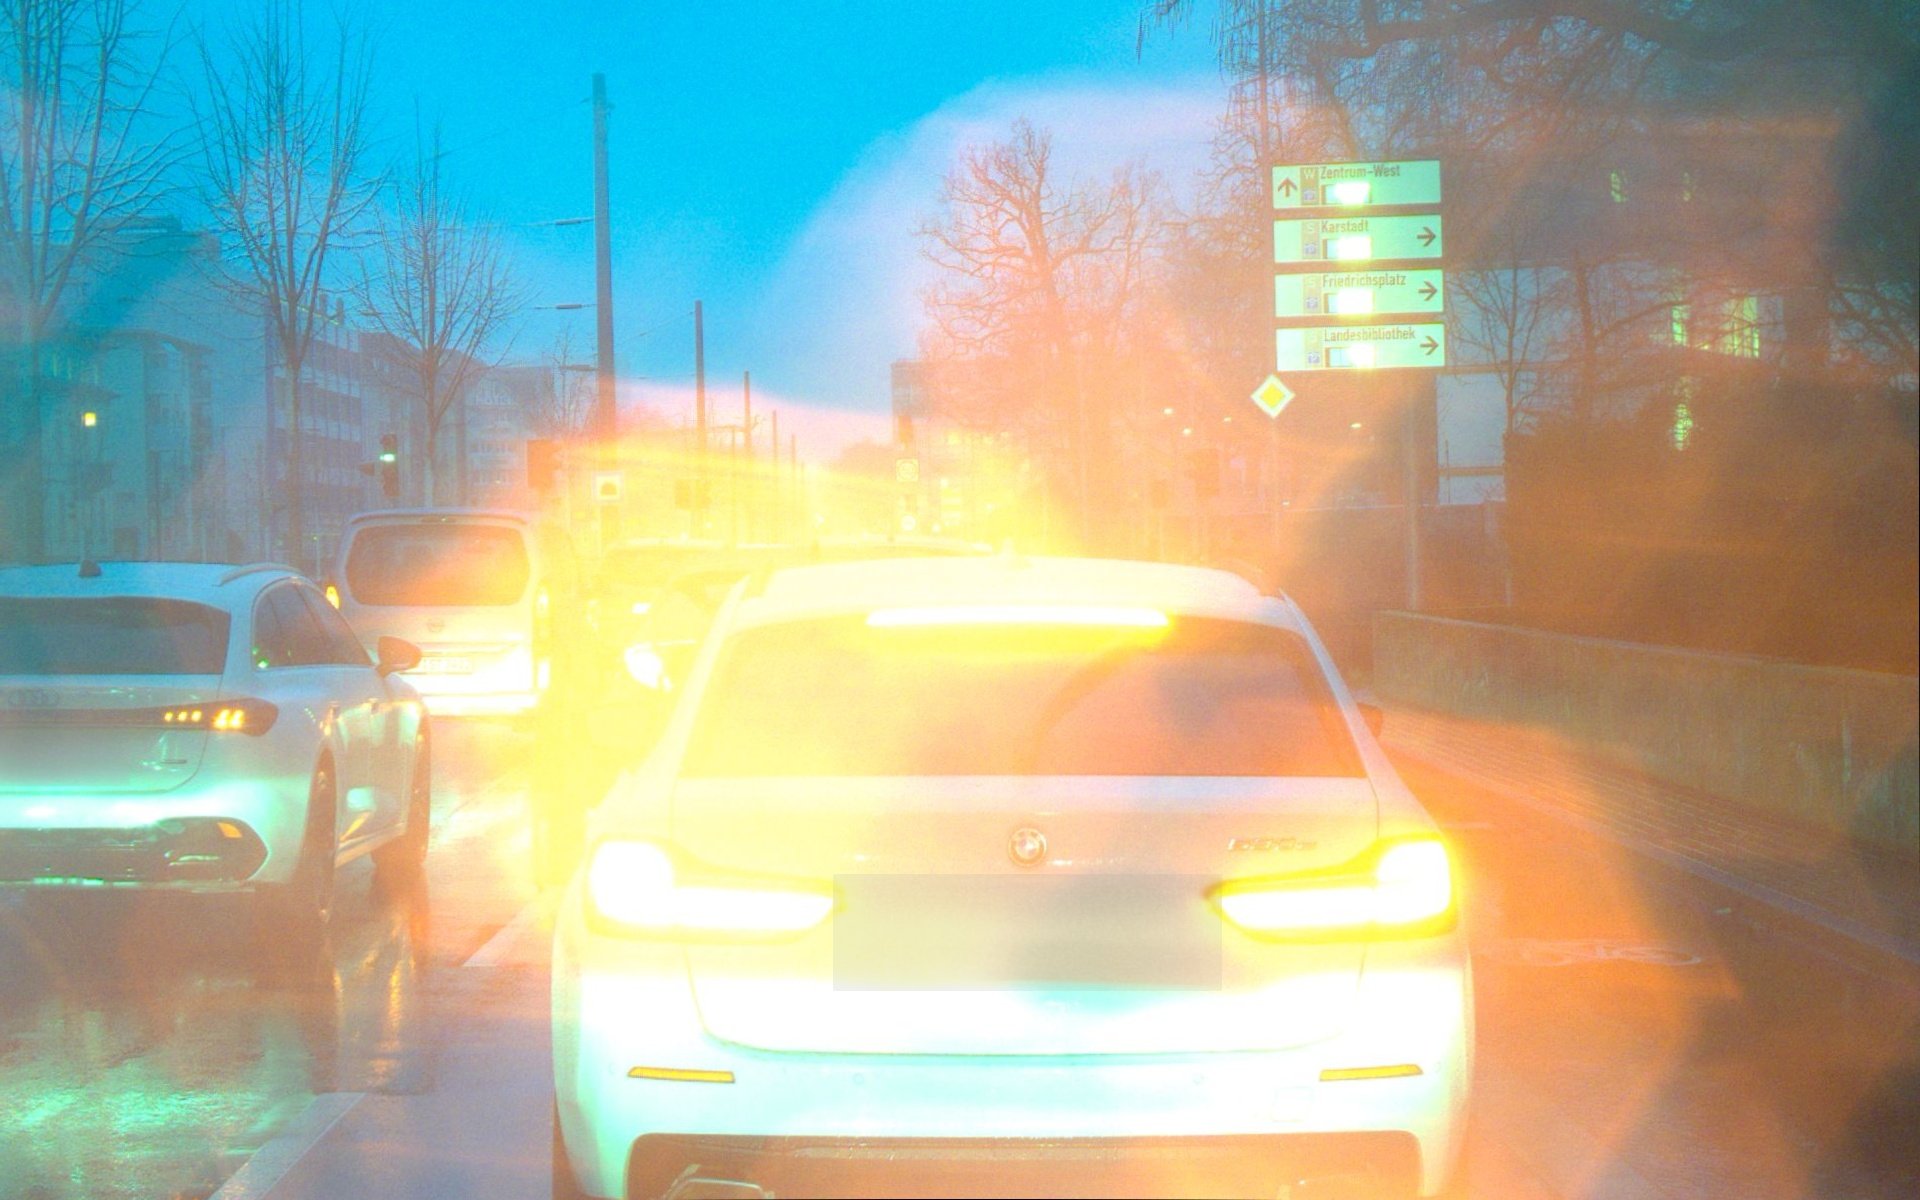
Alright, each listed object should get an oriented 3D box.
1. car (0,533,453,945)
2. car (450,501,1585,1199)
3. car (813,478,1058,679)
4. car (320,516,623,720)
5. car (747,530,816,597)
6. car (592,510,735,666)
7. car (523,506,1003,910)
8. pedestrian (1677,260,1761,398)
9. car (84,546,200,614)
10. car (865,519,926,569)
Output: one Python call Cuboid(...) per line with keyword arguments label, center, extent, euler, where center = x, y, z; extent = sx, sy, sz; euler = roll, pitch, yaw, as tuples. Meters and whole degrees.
Cuboid(label="car", center=(-3.390, 0.464, 14.655), extent=(1.799, 1.461, 4.586), euler=(-1, 1, -1))
Cuboid(label="car", center=(0.075, 0.583, 8.183), extent=(1.862, 1.550, 4.938), euler=(-1, 1, -1))
Cuboid(label="car", center=(-0.200, -0.191, 26.666), extent=(1.737, 1.415, 3.703), euler=(-1, 1, -1))
Cuboid(label="car", center=(-3.687, 0.085, 26.646), extent=(1.737, 1.415, 4.394), euler=(-1, 1, -1))
Cuboid(label="car", center=(-3.634, -0.749, 70.027), extent=(1.362, 1.312, 2.716), euler=(1, 1, -3))
Cuboid(label="car", center=(-3.281, -0.144, 38.345), extent=(1.505, 1.647, 2.845), euler=(1, 1, -4))
Cuboid(label="car", center=(-0.770, 0.384, 15.008), extent=(1.800, 1.505, 3.895), euler=(-1, 1, -1))
Cuboid(label="pedestrian", center=(11.401, -4.063, 51.680), extent=(0.958, 2.007, 1.008), euler=(-1, 1, -4))
Cuboid(label="car", center=(-20.105, -0.501, 84.596), extent=(1.993, 1.597, 4.000), euler=(1, 1, -2))
Cuboid(label="car", center=(-1.881, -1.673, 101.807), extent=(1.737, 1.415, 4.146), euler=(-1, 1, -1))
